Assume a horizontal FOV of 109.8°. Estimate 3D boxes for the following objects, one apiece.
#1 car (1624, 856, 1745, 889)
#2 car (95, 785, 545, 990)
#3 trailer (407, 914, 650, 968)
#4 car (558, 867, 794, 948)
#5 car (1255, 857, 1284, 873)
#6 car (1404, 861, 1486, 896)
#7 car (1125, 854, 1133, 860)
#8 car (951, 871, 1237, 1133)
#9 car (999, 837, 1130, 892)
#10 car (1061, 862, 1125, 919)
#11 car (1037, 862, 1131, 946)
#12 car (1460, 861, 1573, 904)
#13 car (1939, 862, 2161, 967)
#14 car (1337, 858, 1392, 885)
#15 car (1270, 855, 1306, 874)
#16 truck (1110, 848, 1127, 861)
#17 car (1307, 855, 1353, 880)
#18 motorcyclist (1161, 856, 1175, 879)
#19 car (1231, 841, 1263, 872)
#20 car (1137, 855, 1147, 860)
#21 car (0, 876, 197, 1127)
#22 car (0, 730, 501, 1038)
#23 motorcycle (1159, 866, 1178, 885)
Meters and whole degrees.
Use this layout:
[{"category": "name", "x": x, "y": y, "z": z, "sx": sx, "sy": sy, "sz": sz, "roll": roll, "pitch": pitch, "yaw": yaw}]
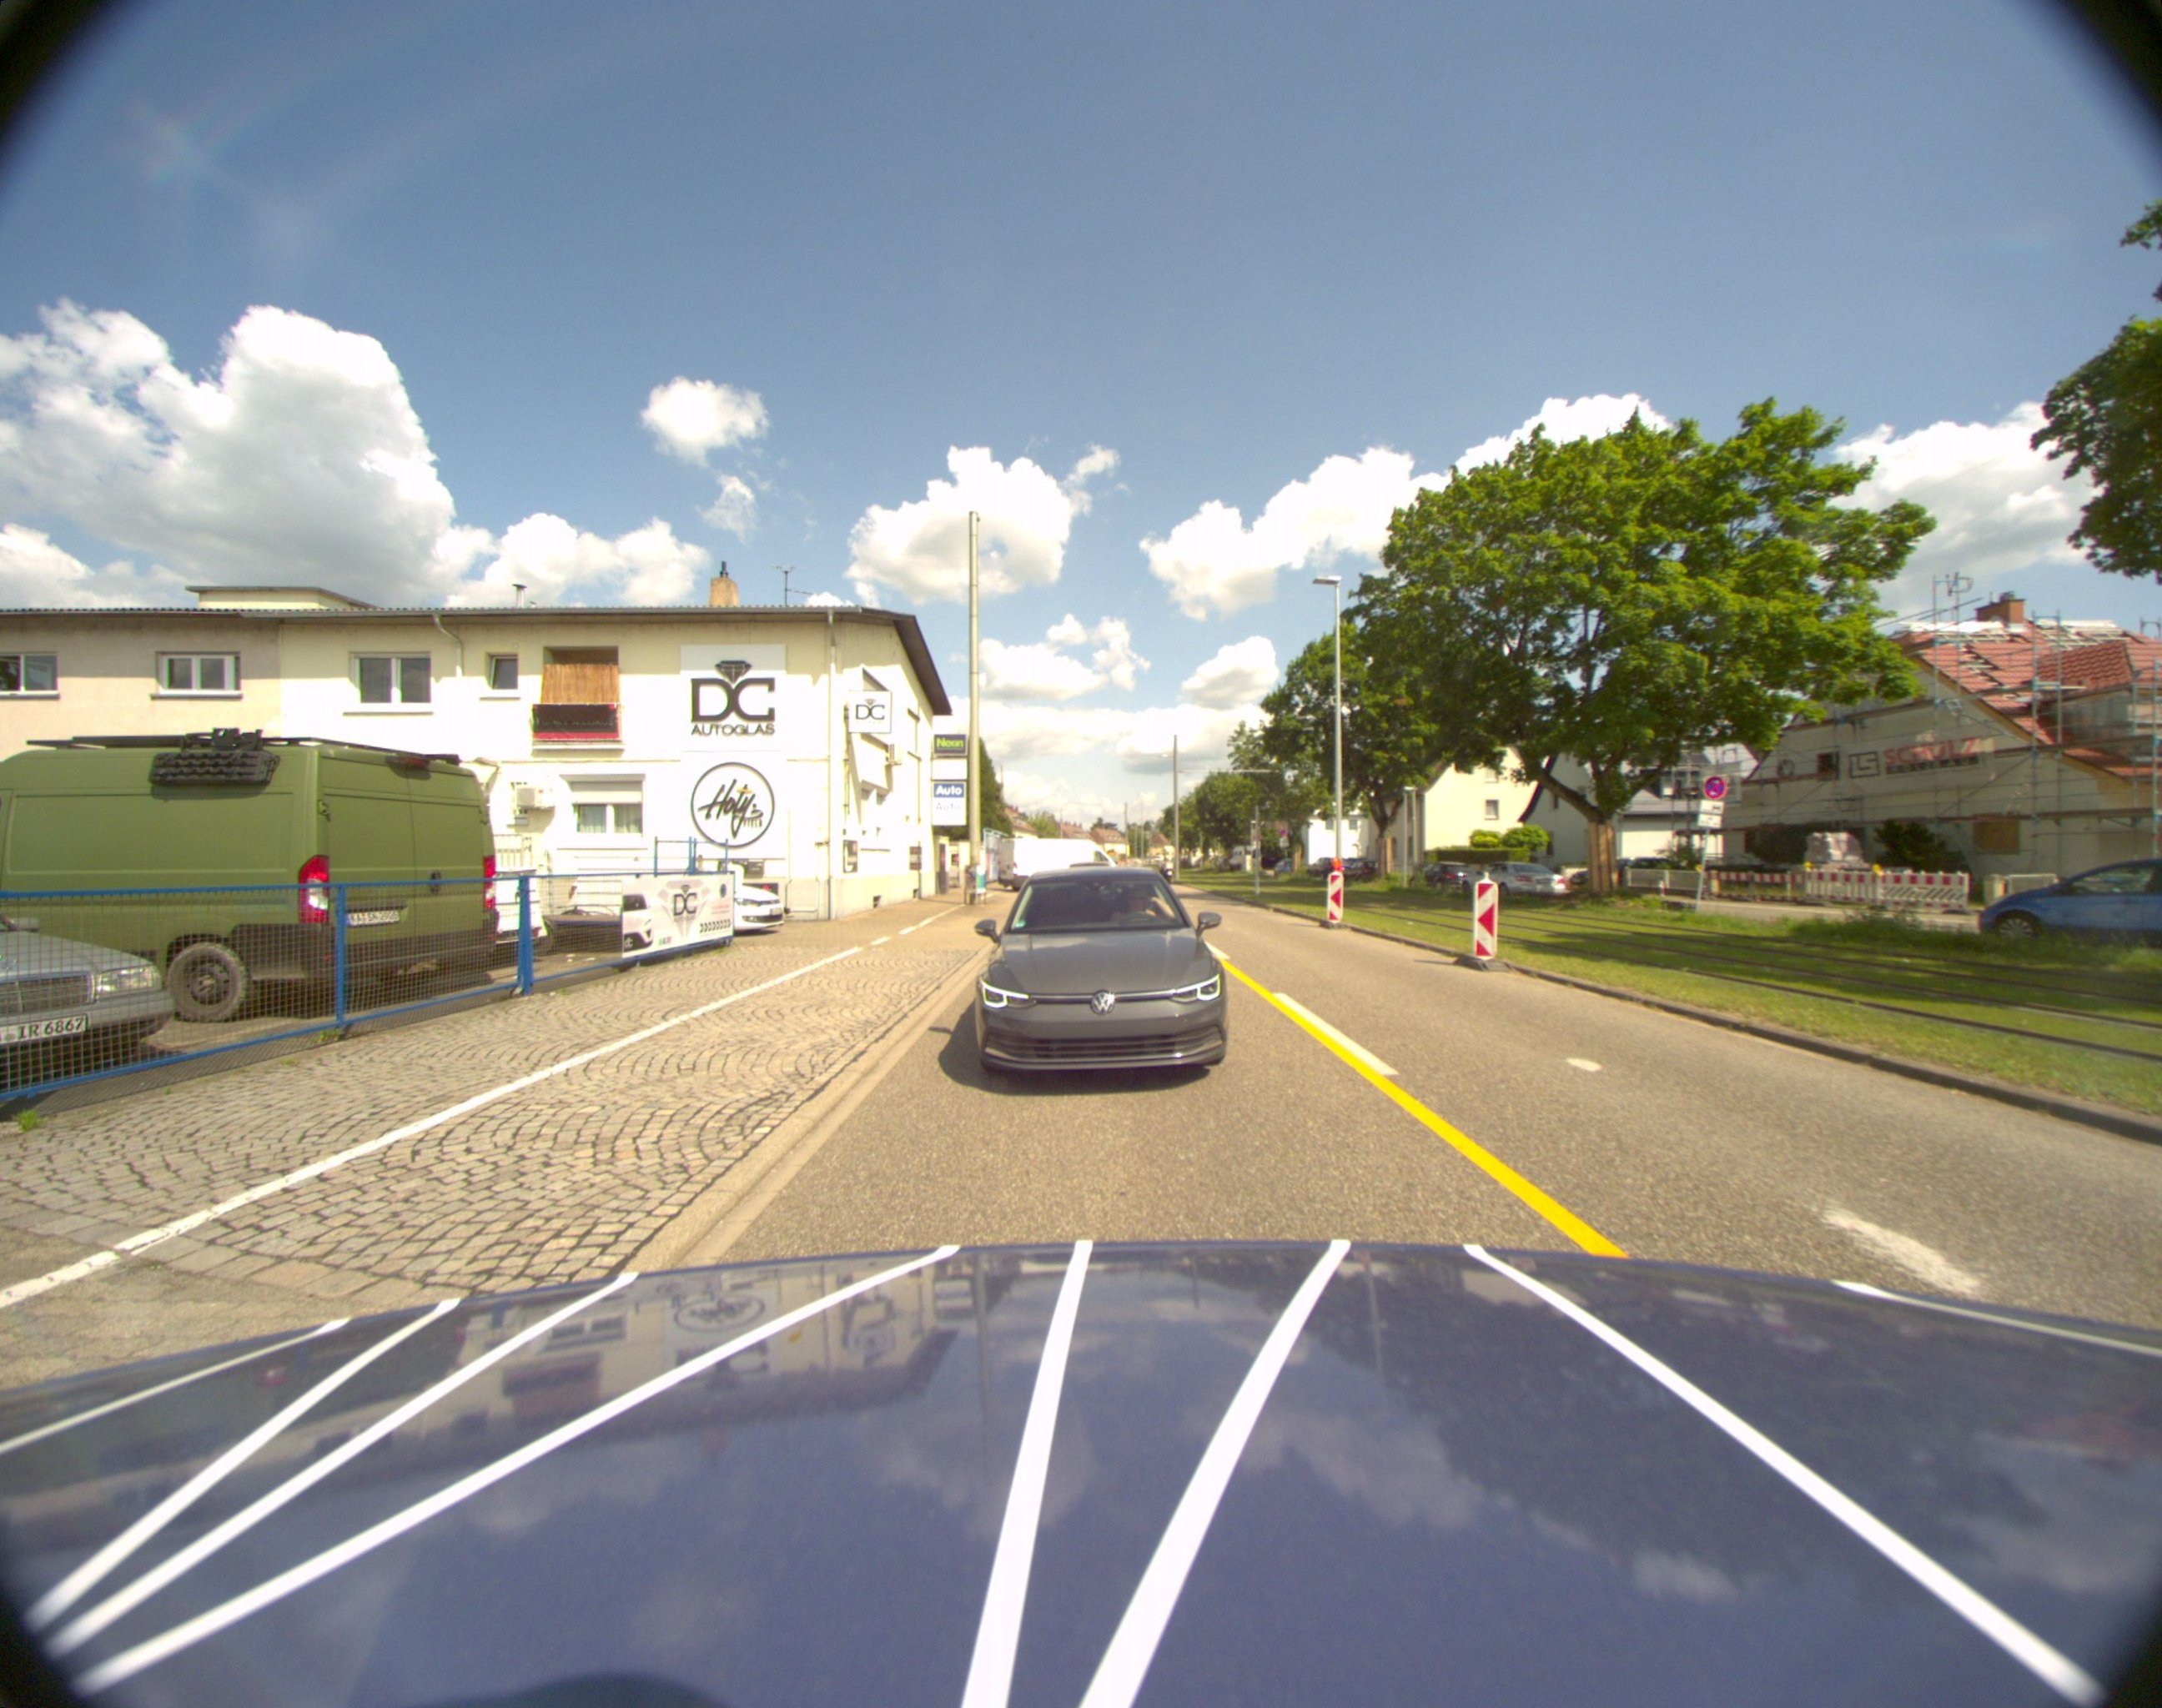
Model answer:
[{"category": "car", "x": 28.907, "y": 0.885, "z": 36.512, "sx": 4.402, "sy": 1.477, "sz": 1.704, "roll": -1, "pitch": -1, "yaw": 1}, {"category": "car", "x": -9.500, "y": 0.401, "z": 9.701, "sx": 4.207, "sy": 2.392, "sz": 1.586, "roll": 0, "pitch": 0, "yaw": 2}, {"category": "trailer", "x": -8.366, "y": 1.305, "z": 11.661, "sx": 2.733, "sy": 0.662, "sz": 1.329, "roll": 0, "pitch": 0, "yaw": -1}, {"category": "car", "x": -7.785, "y": 1.009, "z": 14.824, "sx": 3.775, "sy": 1.454, "sz": 1.555, "roll": 0, "pitch": 0, "yaw": 2}, {"category": "car", "x": 17.648, "y": 1.071, "z": 71.328, "sx": 1.702, "sy": 1.477, "sz": 4.407, "roll": -1, "pitch": -1, "yaw": 1}, {"category": "car", "x": 16.627, "y": 1.116, "z": 34.939, "sx": 1.702, "sy": 1.477, "sz": 4.407, "roll": -1, "pitch": -1, "yaw": 1}, {"category": "car", "x": 13.824, "y": 0.931, "z": 218.684, "sx": 1.700, "sy": 1.574, "sz": 4.005, "roll": 0, "pitch": 0, "yaw": 16}, {"category": "car", "x": 0.105, "y": 0.934, "z": 6.542, "sx": 1.702, "sy": 1.477, "sz": 4.000, "roll": 0, "pitch": 0, "yaw": 1}, {"category": "car", "x": -0.750, "y": 0.524, "z": 36.168, "sx": 5.850, "sy": 2.449, "sz": 2.087, "roll": 1, "pitch": 0, "yaw": -26}, {"category": "car", "x": 0.343, "y": 1.004, "z": 22.289, "sx": 1.702, "sy": 1.477, "sz": 4.000, "roll": 0, "pitch": 0, "yaw": 1}, {"category": "car", "x": 0.080, "y": 0.938, "z": 15.762, "sx": 1.702, "sy": 1.477, "sz": 4.000, "roll": 0, "pitch": 0, "yaw": 1}, {"category": "car", "x": 16.422, "y": 1.062, "z": 28.938, "sx": 1.788, "sy": 1.477, "sz": 4.523, "roll": -1, "pitch": -1, "yaw": 2}, {"category": "car", "x": 16.205, "y": 0.863, "z": 11.401, "sx": 1.702, "sy": 1.477, "sz": 4.407, "roll": -1, "pitch": -1, "yaw": 1}, {"category": "car", "x": 16.772, "y": 1.030, "z": 45.157, "sx": 1.702, "sy": 1.477, "sz": 4.407, "roll": -1, "pitch": -1, "yaw": 1}, {"category": "car", "x": 16.645, "y": 0.869, "z": 61.283, "sx": 1.702, "sy": 1.477, "sz": 4.407, "roll": -1, "pitch": -1, "yaw": 1}, {"category": "truck", "x": 9.914, "y": 0.130, "z": 201.052, "sx": 2.710, "sy": 3.119, "sz": 8.124, "roll": 0, "pitch": 0, "yaw": 15}, {"category": "car", "x": 16.536, "y": 0.894, "z": 50.663, "sx": 1.702, "sy": 1.562, "sz": 4.407, "roll": -1, "pitch": -1, "yaw": 1}, {"category": "motorcyclist", "x": 5.012, "y": 0.772, "z": 43.708, "sx": 0.659, "sy": 1.284, "sz": 0.779, "roll": 0, "pitch": 0, "yaw": -6}, {"category": "car", "x": 16.819, "y": 0.267, "z": 77.273, "sx": 2.136, "sy": 3.019, "sz": 5.084, "roll": -1, "pitch": -1, "yaw": 1}, {"category": "car", "x": 16.135, "y": 0.946, "z": 201.875, "sx": 2.116, "sy": 1.477, "sz": 4.410, "roll": 0, "pitch": 0, "yaw": 12}, {"category": "car", "x": -8.457, "y": 0.887, "z": 4.775, "sx": 4.282, "sy": 1.444, "sz": 1.713, "roll": 0, "pitch": 0, "yaw": 8}, {"category": "car", "x": -8.724, "y": 0.269, "z": 7.611, "sx": 4.207, "sy": 2.627, "sz": 2.113, "roll": 0, "pitch": 0, "yaw": 2}, {"category": "motorcycle", "x": 5.024, "y": 1.206, "z": 43.676, "sx": 0.659, "sy": 1.040, "sz": 2.110, "roll": 0, "pitch": 0, "yaw": -6}]
